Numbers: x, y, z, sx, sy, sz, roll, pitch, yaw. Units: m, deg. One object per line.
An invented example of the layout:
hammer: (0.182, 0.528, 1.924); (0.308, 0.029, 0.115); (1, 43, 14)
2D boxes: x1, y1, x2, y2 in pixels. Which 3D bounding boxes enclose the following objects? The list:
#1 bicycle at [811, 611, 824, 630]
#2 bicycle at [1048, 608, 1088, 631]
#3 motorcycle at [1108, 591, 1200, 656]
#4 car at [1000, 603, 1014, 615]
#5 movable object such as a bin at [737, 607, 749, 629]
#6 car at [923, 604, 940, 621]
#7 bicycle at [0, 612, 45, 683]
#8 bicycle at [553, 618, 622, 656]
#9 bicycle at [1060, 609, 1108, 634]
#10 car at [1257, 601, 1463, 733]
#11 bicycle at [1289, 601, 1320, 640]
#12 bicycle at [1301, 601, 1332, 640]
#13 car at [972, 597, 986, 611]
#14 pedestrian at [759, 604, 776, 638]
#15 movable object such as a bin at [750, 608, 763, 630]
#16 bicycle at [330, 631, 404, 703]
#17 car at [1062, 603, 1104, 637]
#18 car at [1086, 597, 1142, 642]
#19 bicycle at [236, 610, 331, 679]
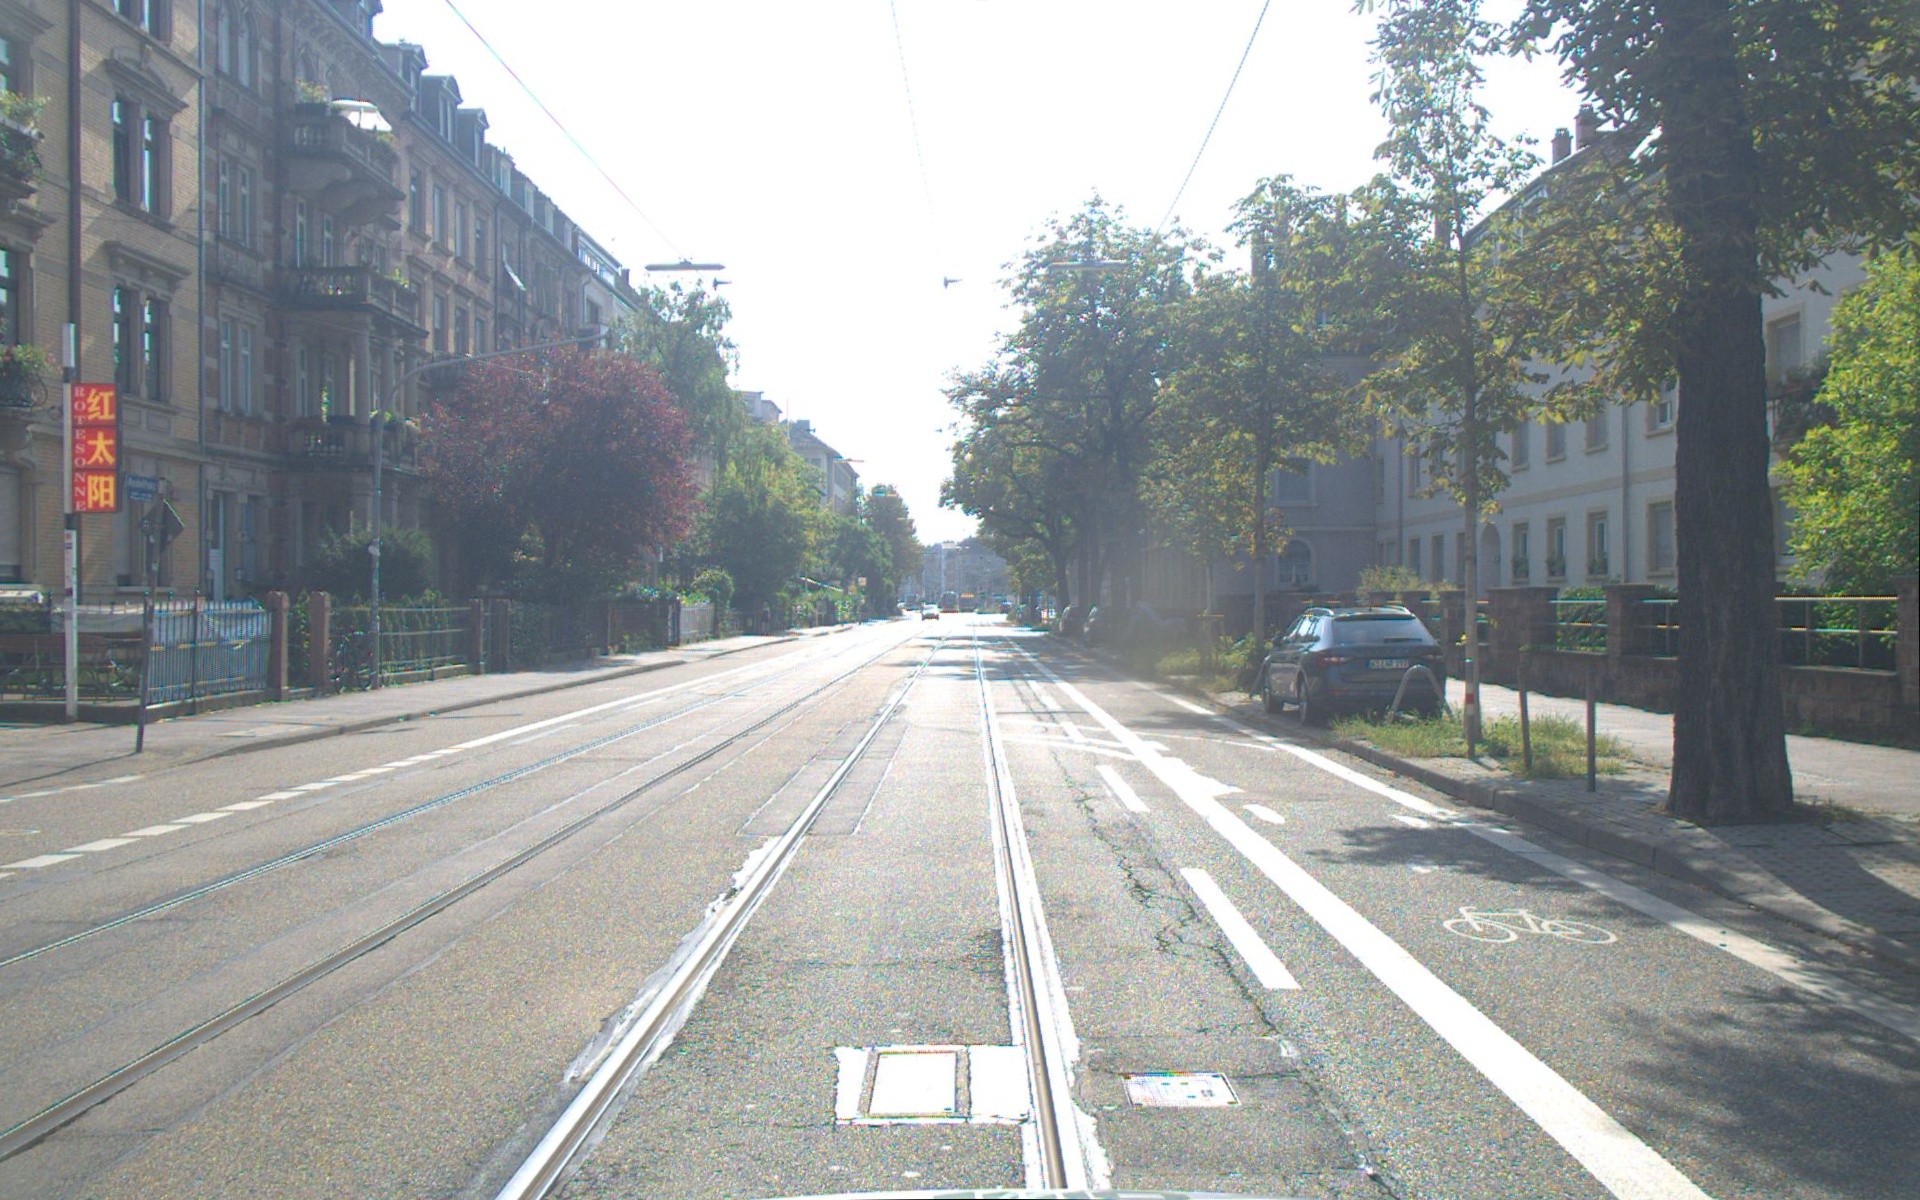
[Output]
bicycle: (-9.379, 1.351, 109.034); (0.549, 1.242, 2.114); (0, 0, 2)
bicycle: (5.778, 1.043, 88.374); (2.064, 1.125, 0.616); (-2, 0, -1)
motorcycle: (5.269, 0.637, 45.046); (0.907, 1.703, 2.379); (-2, 0, -45)
car: (7.440, 1.480, 260.338); (1.951, 1.814, 4.002); (2, 0, 5)
movable object such as a bin: (-10.810, 0.908, 82.305); (0.578, 1.097, 0.704); (0, 0, -6)
car: (-2.881, 1.257, 168.358); (1.691, 1.666, 3.984); (0, 0, 0)
bicycle: (-14.980, 0.734, 25.529); (1.453, 1.078, 0.417); (-1, 0, -3)
bicycle: (-11.248, 1.125, 49.963); (1.975, 1.123, 0.588); (0, 0, -3)
bicycle: (5.553, 0.968, 74.218); (2.066, 1.125, 0.562); (0, 0, -7)
car: (5.299, 0.824, 22.507); (1.707, 1.588, 4.719); (-1, 0, 1)
bicycle: (10.250, 0.598, 49.261); (0.414, 1.123, 1.999); (0, 0, -2)
bicycle: (10.601, 0.587, 49.238); (0.416, 1.123, 1.999); (0, 0, -2)
car: (2.924, 0.633, 254.193); (1.952, 2.049, 4.002); (2, 0, 4)
pedestrian: (-9.407, 1.029, 80.845); (0.737, 1.619, 0.878); (0, 0, 1)
movable object such as a bin: (-10.153, 0.925, 82.374); (0.619, 1.097, 0.704); (0, 0, -6)
bicycle: (-9.938, 1.109, 27.785); (0.498, 1.127, 2.003); (0, 0, 1)
car: (5.778, 0.944, 77.896); (1.735, 1.499, 3.974); (-1, -1, 1)
car: (5.636, 0.712, 60.875); (1.691, 1.531, 3.984); (-2, 0, 0)
bicycle: (-10.937, 0.717, 26.760); (1.330, 1.078, 0.417); (1, 0, -3)
